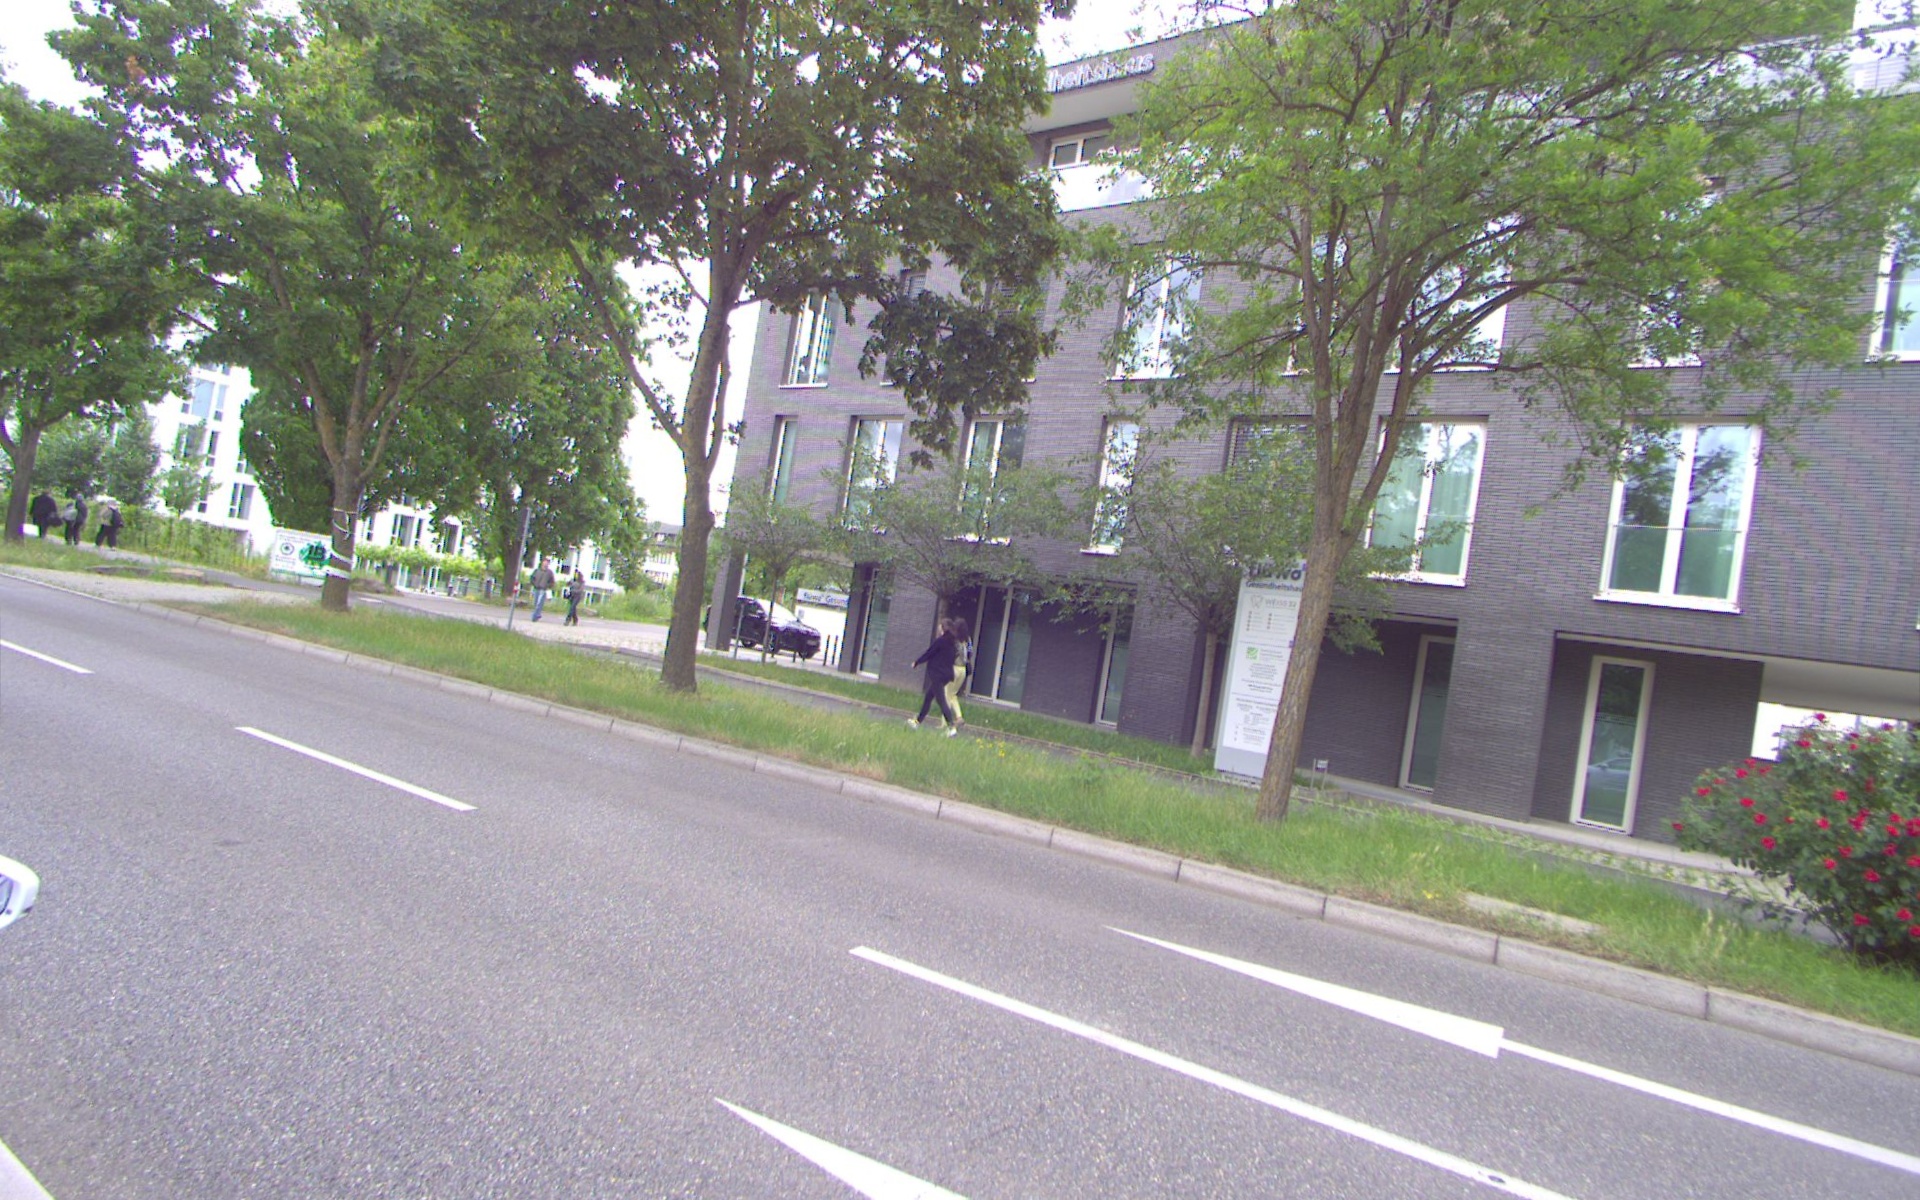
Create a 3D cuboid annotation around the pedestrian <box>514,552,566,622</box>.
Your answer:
[{"bbox_3d":[-12.266,-0.351,29.386,0.946,1.889,0.978,8,-1,-8],"label":"pedestrian"}]

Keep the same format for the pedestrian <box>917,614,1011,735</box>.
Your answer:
[{"bbox_3d":[0.057,1.125,15.190,0.937,1.679,0.779,7,-1,38],"label":"pedestrian"}]

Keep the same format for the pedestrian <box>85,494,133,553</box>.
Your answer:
[{"bbox_3d":[-26.997,-2.423,31.924,0.868,1.705,0.768,6,-1,31],"label":"pedestrian"}]

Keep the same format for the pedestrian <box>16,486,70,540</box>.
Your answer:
[{"bbox_3d":[-27.797,-2.634,30.501,1.093,1.465,0.791,6,-1,31],"label":"pedestrian"}]

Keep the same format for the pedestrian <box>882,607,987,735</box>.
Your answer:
[{"bbox_3d":[-0.362,1.027,14.527,1.043,1.679,0.796,7,-1,38],"label":"pedestrian"}]

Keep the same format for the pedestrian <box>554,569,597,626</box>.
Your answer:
[{"bbox_3d":[-11.403,-0.061,29.853,0.821,1.575,0.875,8,-1,-8],"label":"pedestrian"}]

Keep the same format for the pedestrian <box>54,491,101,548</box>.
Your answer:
[{"bbox_3d":[-27.289,-2.494,31.113,0.868,1.614,0.701,6,-1,31],"label":"pedestrian"}]

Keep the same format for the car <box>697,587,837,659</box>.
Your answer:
[{"bbox_3d":[-6.107,0.719,31.692,4.080,1.665,1.759,7,-2,32],"label":"car"}]
